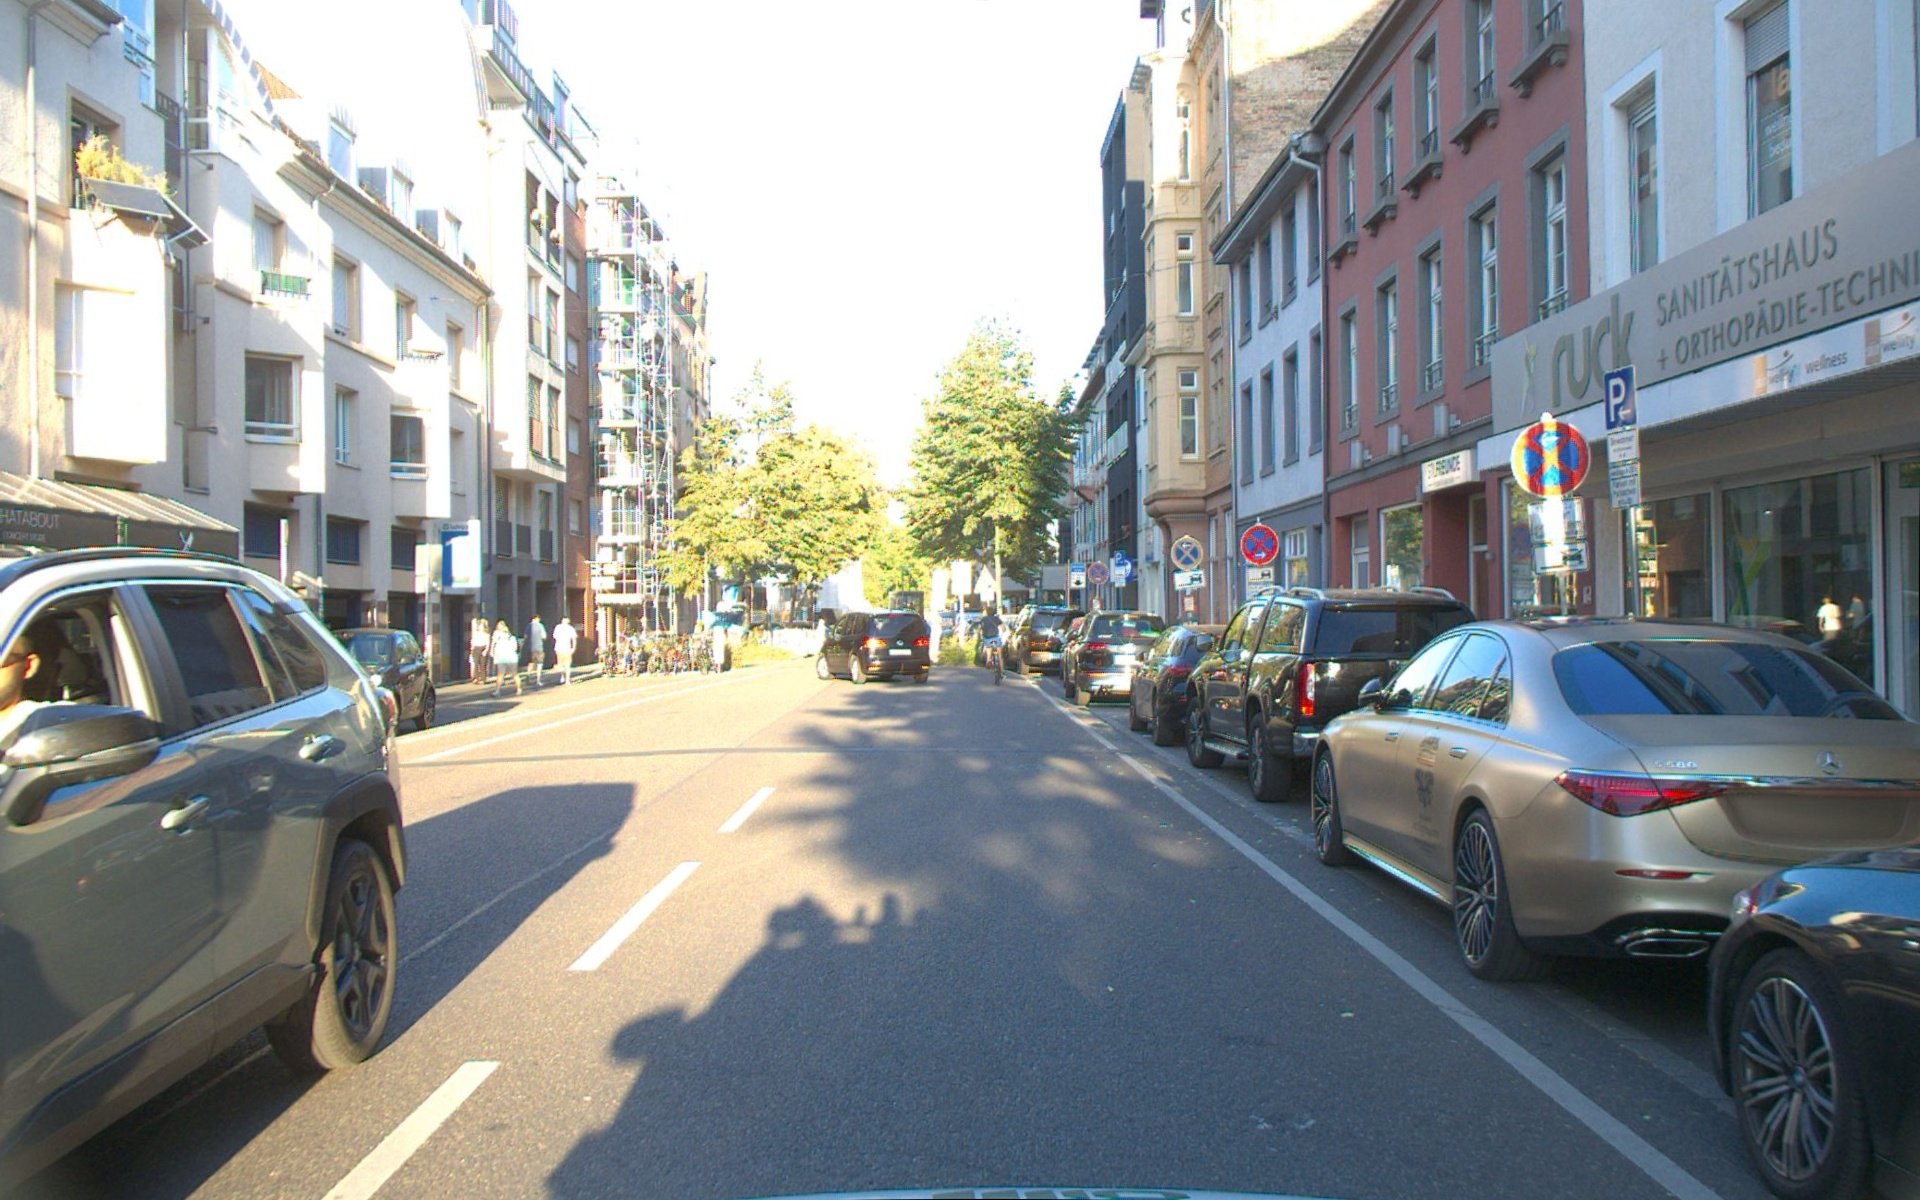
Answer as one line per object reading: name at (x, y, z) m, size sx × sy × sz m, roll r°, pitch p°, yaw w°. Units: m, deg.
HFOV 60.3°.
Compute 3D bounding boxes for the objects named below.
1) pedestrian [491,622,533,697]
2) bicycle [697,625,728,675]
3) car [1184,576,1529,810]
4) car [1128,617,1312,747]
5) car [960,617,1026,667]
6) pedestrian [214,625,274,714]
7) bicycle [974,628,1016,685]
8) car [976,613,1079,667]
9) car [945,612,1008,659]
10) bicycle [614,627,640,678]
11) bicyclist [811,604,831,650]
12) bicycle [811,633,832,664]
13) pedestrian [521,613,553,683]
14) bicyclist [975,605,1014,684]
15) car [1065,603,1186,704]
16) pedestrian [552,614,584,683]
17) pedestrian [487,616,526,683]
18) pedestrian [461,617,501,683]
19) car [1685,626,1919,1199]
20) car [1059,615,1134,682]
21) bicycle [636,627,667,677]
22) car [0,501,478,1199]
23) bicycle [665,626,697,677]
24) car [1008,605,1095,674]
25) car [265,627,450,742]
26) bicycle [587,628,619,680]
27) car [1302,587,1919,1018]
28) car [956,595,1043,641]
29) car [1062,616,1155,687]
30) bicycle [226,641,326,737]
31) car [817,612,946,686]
pedestrian at (-10.126, 1.331, 37.406) m, size 0.702 × 1.670 × 0.951 m, roll 0°, pitch -1°, yaw -3°
bicycle at (-7.160, 1.435, 47.860) m, size 0.829 × 1.374 × 3.180 m, roll -1°, pitch -1°, yaw -9°
car at (3.380, 0.758, 15.191) m, size 1.845 × 1.785 × 5.057 m, roll 0°, pitch -1°, yaw -1°
car at (3.263, 0.996, 21.508) m, size 1.726 × 1.510 × 4.306 m, roll 0°, pitch -1°, yaw 0°
car at (1.104, 1.457, 58.032) m, size 1.954 × 1.697 × 4.506 m, roll 0°, pitch -1°, yaw -4°
pedestrian at (-13.387, 1.289, 30.956) m, size 0.702 × 1.644 × 0.855 m, roll 0°, pitch -1°, yaw 2°
bicycle at (0.778, 1.245, 37.117) m, size 0.765 × 1.225 × 2.019 m, roll -2°, pitch -1°, yaw -3°
car at (1.988, 1.183, 49.124) m, size 2.910 × 1.563 × 1.432 m, roll 0°, pitch -1°, yaw -5°
car at (0.673, 1.521, 71.151) m, size 2.221 × 1.797 × 4.505 m, roll 5°, pitch -1°, yaw -4°
bicycle at (-9.539, 1.491, 47.434) m, size 0.574 × 1.420 × 3.154 m, roll 0°, pitch -1°, yaw -9°
bicyclist at (-5.800, 1.125, 69.063) m, size 0.765 × 1.861 × 1.006 m, roll -2°, pitch -1°, yaw -3°
bicycle at (-5.767, 2.015, 68.943) m, size 0.765 × 1.225 × 2.019 m, roll -2°, pitch -1°, yaw -3°
pedestrian at (-10.826, 1.226, 42.329) m, size 0.703 × 1.798 × 0.693 m, roll 0°, pitch -1°, yaw -9°
bicyclist at (0.771, 0.989, 37.001) m, size 0.765 × 1.726 × 1.006 m, roll -2°, pitch -1°, yaw -3°
car at (2.930, 0.948, 29.996) m, size 1.775 × 1.697 × 4.205 m, roll 0°, pitch -1°, yaw 0°
pedestrian at (-10.106, 1.249, 42.646) m, size 0.703 × 1.771 × 0.737 m, roll 0°, pitch -1°, yaw -9°
pedestrian at (-11.511, 1.256, 42.004) m, size 0.701 × 1.670 × 0.855 m, roll 0°, pitch -1°, yaw 4°
pedestrian at (-12.198, 1.269, 42.111) m, size 0.701 × 1.670 × 0.855 m, roll 0°, pitch -1°, yaw 4°
car at (3.037, 0.801, 2.637) m, size 1.717 × 1.445 × 4.508 m, roll 0°, pitch 0°, yaw -1°
car at (3.176, 1.121, 38.909) m, size 1.554 × 1.510 × 3.266 m, roll 0°, pitch -1°, yaw 1°
bicycle at (-8.861, 1.481, 47.563) m, size 0.766 × 1.397 × 3.135 m, roll 0°, pitch -1°, yaw -9°
car at (-2.800, 0.699, 4.130) m, size 1.901 × 1.673 × 4.736 m, roll -2°, pitch -1°, yaw -2°
bicycle at (-8.030, 1.472, 47.712) m, size 0.876 × 1.420 × 3.159 m, roll -1°, pitch -1°, yaw -9°
car at (2.350, 1.026, 43.536) m, size 1.788 × 1.725 × 4.365 m, roll 0°, pitch -1°, yaw -3°
car at (-8.982, 1.213, 24.915) m, size 1.756 × 1.562 × 3.187 m, roll -1°, pitch 0°, yaw -3°
bicycle at (-10.194, 1.528, 47.317) m, size 0.707 × 1.420 × 3.146 m, roll 0°, pitch -1°, yaw -9°
car at (3.104, 0.782, 8.504) m, size 1.774 × 1.554 × 4.994 m, roll 0°, pitch -1°, yaw 1°
car at (1.864, 0.822, 76.672) m, size 3.903 × 2.049 × 2.001 m, roll -1°, pitch -1°, yaw 3°
car at (3.086, 1.068, 34.961) m, size 1.632 × 1.402 × 3.802 m, roll 0°, pitch -1°, yaw 0°
bicycle at (-10.573, 1.351, 25.647) m, size 0.598 × 1.399 × 2.358 m, roll 0°, pitch -1°, yaw -1°
car at (-1.914, 1.132, 38.819) m, size 1.962 × 1.630 × 4.486 m, roll 1°, pitch -1°, yaw -18°
